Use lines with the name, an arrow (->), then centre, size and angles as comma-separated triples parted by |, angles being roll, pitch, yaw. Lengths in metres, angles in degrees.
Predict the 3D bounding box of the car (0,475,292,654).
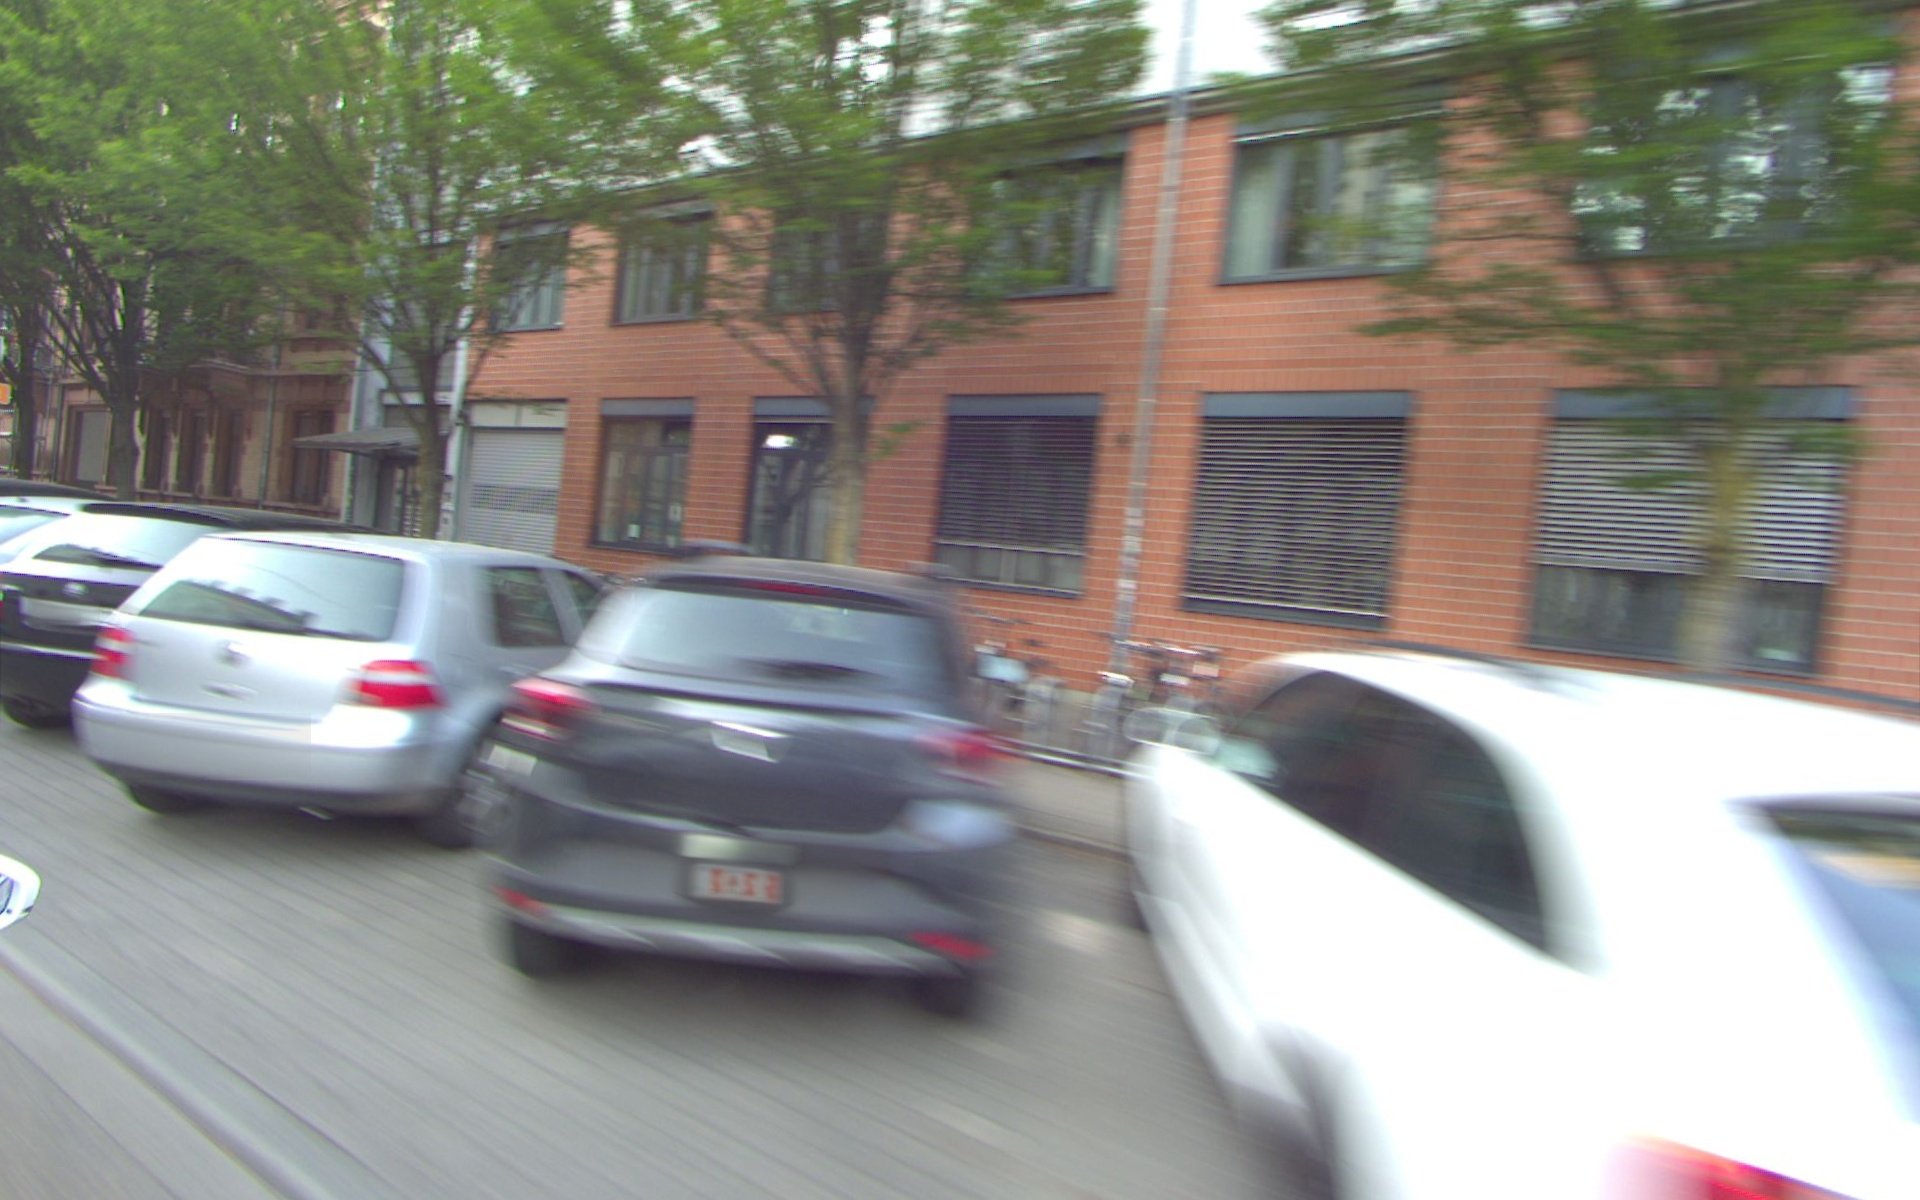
car -> -9.471, -0.404, 10.512 | 1.725, 1.658, 4.000 | 6, 1, 12

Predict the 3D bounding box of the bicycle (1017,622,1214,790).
bicycle -> 1.417, 0.864, 8.596 | 0.553, 1.181, 2.536 | 7, 0, 33

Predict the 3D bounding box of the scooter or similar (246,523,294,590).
scooter or similar -> -13.803, -0.878, 20.106 | 1.751, 1.235, 0.410 | 7, 6, 43

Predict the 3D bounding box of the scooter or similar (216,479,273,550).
scooter or similar -> -13.133, -1.580, 18.448 | 1.751, 1.236, 0.465 | 6, 8, 43

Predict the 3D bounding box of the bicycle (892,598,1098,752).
bicycle -> 0.413, 0.680, 9.232 | 0.553, 1.181, 2.536 | 7, 0, 33

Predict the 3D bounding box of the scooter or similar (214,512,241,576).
scooter or similar -> -14.948, -1.152, 20.548 | 0.366, 1.234, 1.687 | 2, 3, -34

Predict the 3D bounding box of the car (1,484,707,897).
car -> -2.955, 0.378, 5.915 | 1.690, 1.501, 3.606 | 6, 0, 4

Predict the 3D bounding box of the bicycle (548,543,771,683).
bicycle -> -3.323, 0.207, 11.443 | 0.589, 1.397, 2.536 | 7, 0, 33

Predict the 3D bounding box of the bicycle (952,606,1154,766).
bicycle -> 0.915, 0.742, 8.907 | 0.553, 1.181, 2.536 | 7, 0, 33

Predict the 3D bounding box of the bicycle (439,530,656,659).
bicycle -> -5.086, -0.014, 12.642 | 0.589, 1.397, 2.536 | 7, 0, 33

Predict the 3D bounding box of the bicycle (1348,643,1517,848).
bicycle -> 3.466, 0.934, 7.240 | 0.669, 1.114, 2.344 | 7, 3, 33

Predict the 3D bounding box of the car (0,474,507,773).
car -> -5.065, 0.113, 7.416 | 1.533, 1.554, 3.605 | 6, 0, 3

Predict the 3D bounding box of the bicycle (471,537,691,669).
bicycle -> -4.518, 0.098, 12.233 | 0.589, 1.397, 2.536 | 7, 0, 33

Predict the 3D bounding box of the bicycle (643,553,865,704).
bicycle -> -2.103, 0.346, 10.746 | 0.589, 1.397, 2.536 | 7, 0, 33

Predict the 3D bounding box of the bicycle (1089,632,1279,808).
bicycle -> 1.925, 0.933, 8.269 | 0.553, 1.181, 2.536 | 7, 0, 33

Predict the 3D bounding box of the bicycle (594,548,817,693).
bicycle -> -2.712, 0.277, 11.089 | 0.589, 1.397, 2.536 | 7, 0, 33

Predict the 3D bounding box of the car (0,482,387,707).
car -> -7.286, -0.108, 8.593 | 1.773, 1.554, 4.388 | 6, 0, 7

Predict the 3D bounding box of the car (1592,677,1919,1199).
car -> 3.478, 1.155, 2.119 | 1.678, 1.542, 3.999 | 5, 0, 1

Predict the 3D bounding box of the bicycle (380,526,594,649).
bicycle -> -6.198, -0.113, 13.385 | 0.589, 1.397, 2.536 | 7, 0, 33

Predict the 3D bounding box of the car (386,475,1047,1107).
car -> -0.725, 0.543, 4.609 | 1.685, 1.600, 3.603 | 6, 0, -2

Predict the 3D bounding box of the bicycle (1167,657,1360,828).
bicycle -> 2.465, 1.018, 7.907 | 0.669, 0.972, 2.532 | 7, 3, 33

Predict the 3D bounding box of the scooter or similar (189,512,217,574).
scooter or similar -> -15.801, -1.201, 21.012 | 0.366, 1.234, 1.605 | 2, 3, -34

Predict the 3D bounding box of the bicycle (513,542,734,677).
bicycle -> -3.872, 0.168, 11.871 | 0.589, 1.397, 2.536 | 7, 0, 33

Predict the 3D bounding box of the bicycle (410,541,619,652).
bicycle -> -5.670, -0.079, 12.993 | 0.589, 1.263, 2.530 | 7, 5, 33

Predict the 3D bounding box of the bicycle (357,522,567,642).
bicycle -> -6.738, -0.192, 13.798 | 0.589, 1.397, 2.536 | 7, 0, 33

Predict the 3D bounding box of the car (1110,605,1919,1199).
car -> 1.585, 0.894, 2.850 | 1.605, 1.556, 3.999 | 7, 0, 1
